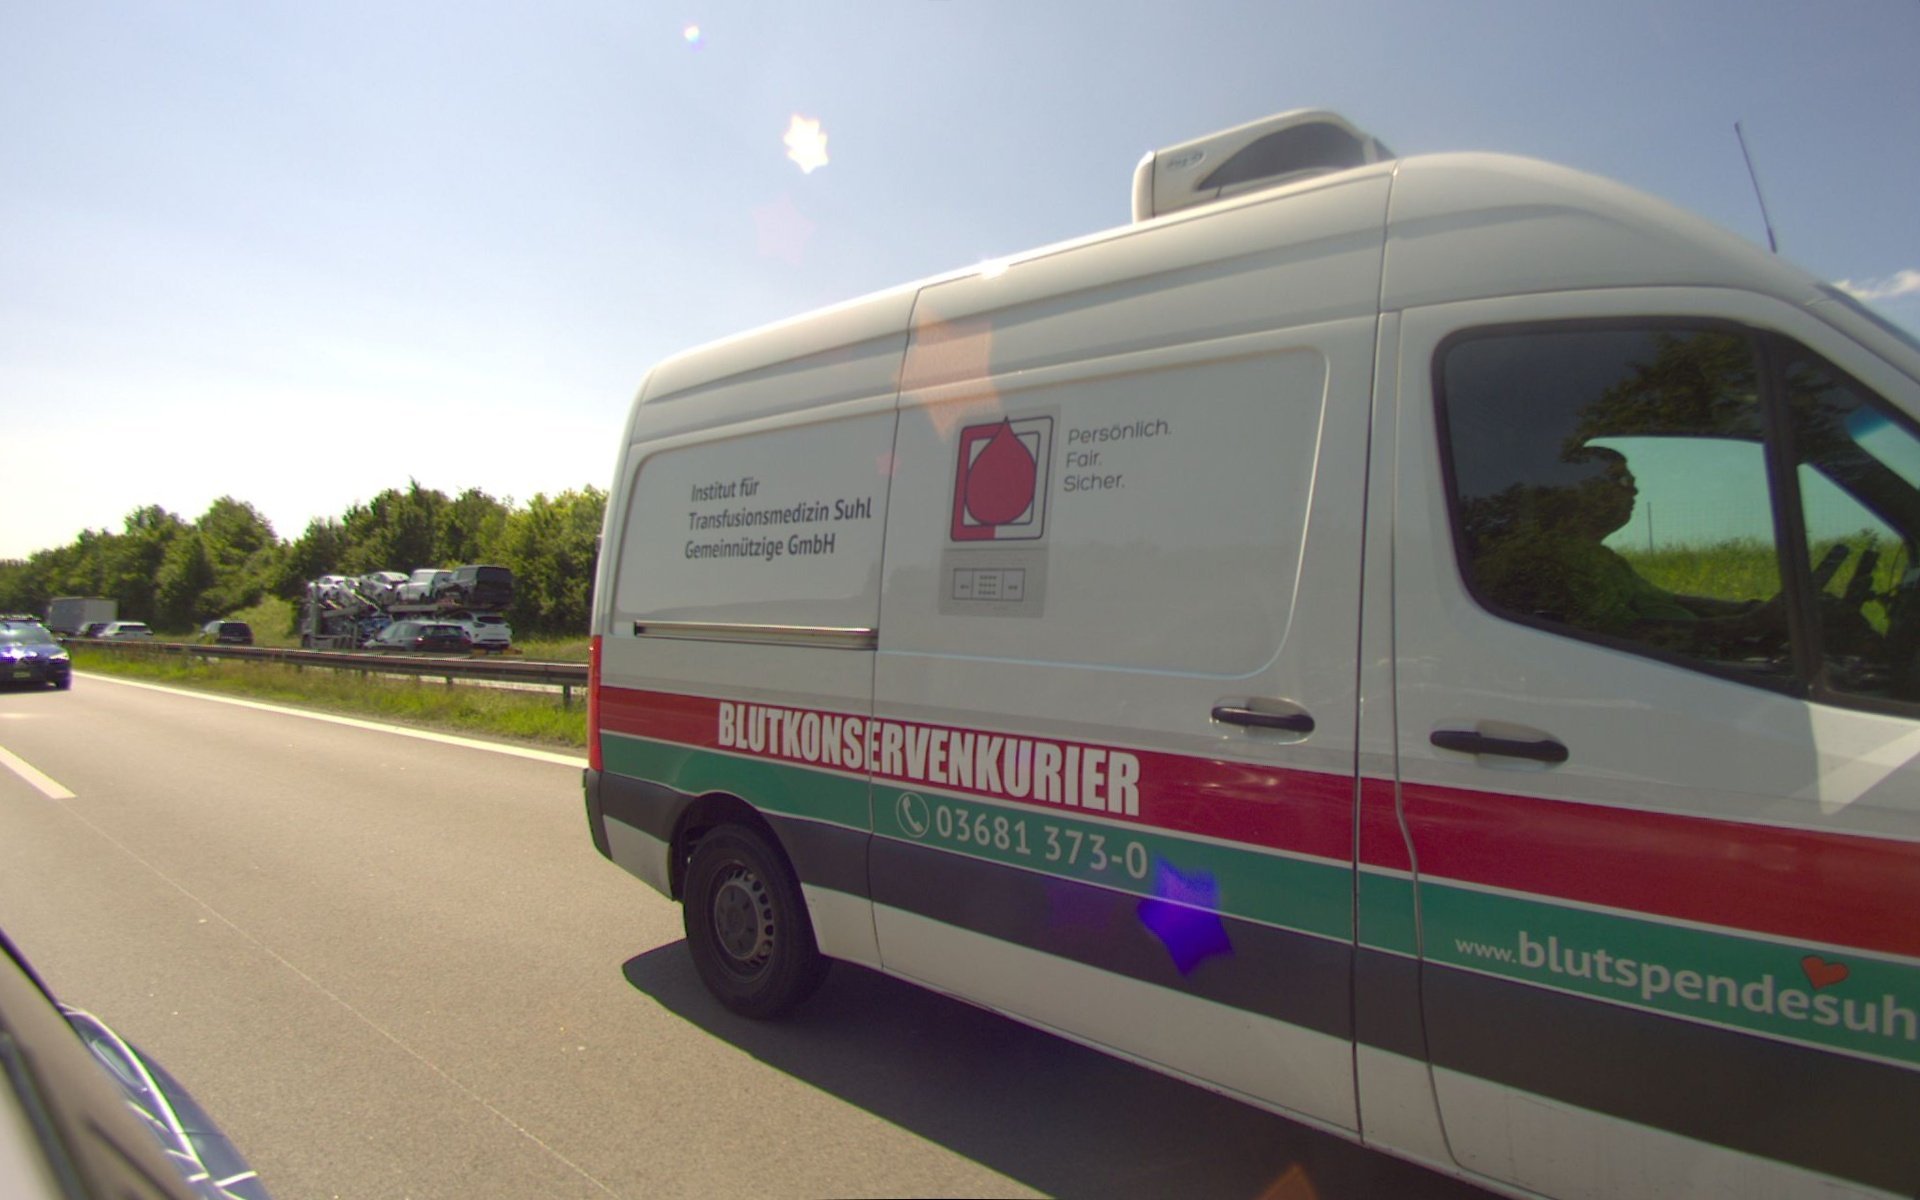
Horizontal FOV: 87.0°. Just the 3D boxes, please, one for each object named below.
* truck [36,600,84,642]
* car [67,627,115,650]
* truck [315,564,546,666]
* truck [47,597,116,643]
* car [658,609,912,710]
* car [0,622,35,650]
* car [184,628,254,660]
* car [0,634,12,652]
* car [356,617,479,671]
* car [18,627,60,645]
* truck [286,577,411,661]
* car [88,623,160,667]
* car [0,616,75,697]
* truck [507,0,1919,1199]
[{"bbox_3d":[-91.548,2.152,102.937,6.070,4.110,2.645,-1,-4,40],"label":"truck"},{"bbox_3d":[-65.084,2.863,75.788,4.892,1.653,1.944,-1,-2,40],"label":"car"},{"bbox_3d":[-25.040,0.798,46.991,16.657,4.081,3.179,-1,-3,39],"label":"truck"},{"bbox_3d":[-83.957,2.001,96.619,13.947,4.110,2.645,-1,-4,40],"label":"truck"},{"bbox_3d":[-3.151,0.976,17.685,4.614,1.528,1.892,-2,-2,41],"label":"car"},{"bbox_3d":[-70.597,2.663,75.157,5.684,1.960,2.068,-1,-2,40],"label":"car"},{"bbox_3d":[-39.287,2.281,53.624,4.578,1.626,1.973,-2,-2,41],"label":"car"},{"bbox_3d":[-79.320,3.482,82.867,5.014,1.450,1.855,-1,-2,40],"label":"car"},{"bbox_3d":[-15.135,1.192,28.141,3.998,1.401,1.698,-2,-2,41],"label":"car"},{"bbox_3d":[-80.216,3.110,88.111,5.203,1.521,1.973,-1,-2,40],"label":"car"},{"bbox_3d":[-31.813,1.045,52.560,7.387,4.081,3.208,-1,-3,39],"label":"truck"},{"bbox_3d":[-42.250,2.235,51.096,4.911,2.029,1.973,0,-1,41],"label":"car"},{"bbox_3d":[-20.931,1.190,22.105,4.239,1.638,1.880,-2,-2,42],"label":"car"},{"bbox_3d":[1.242,0.137,2.977,6.686,2.561,1.973,-1,-1,40],"label":"truck"}]
